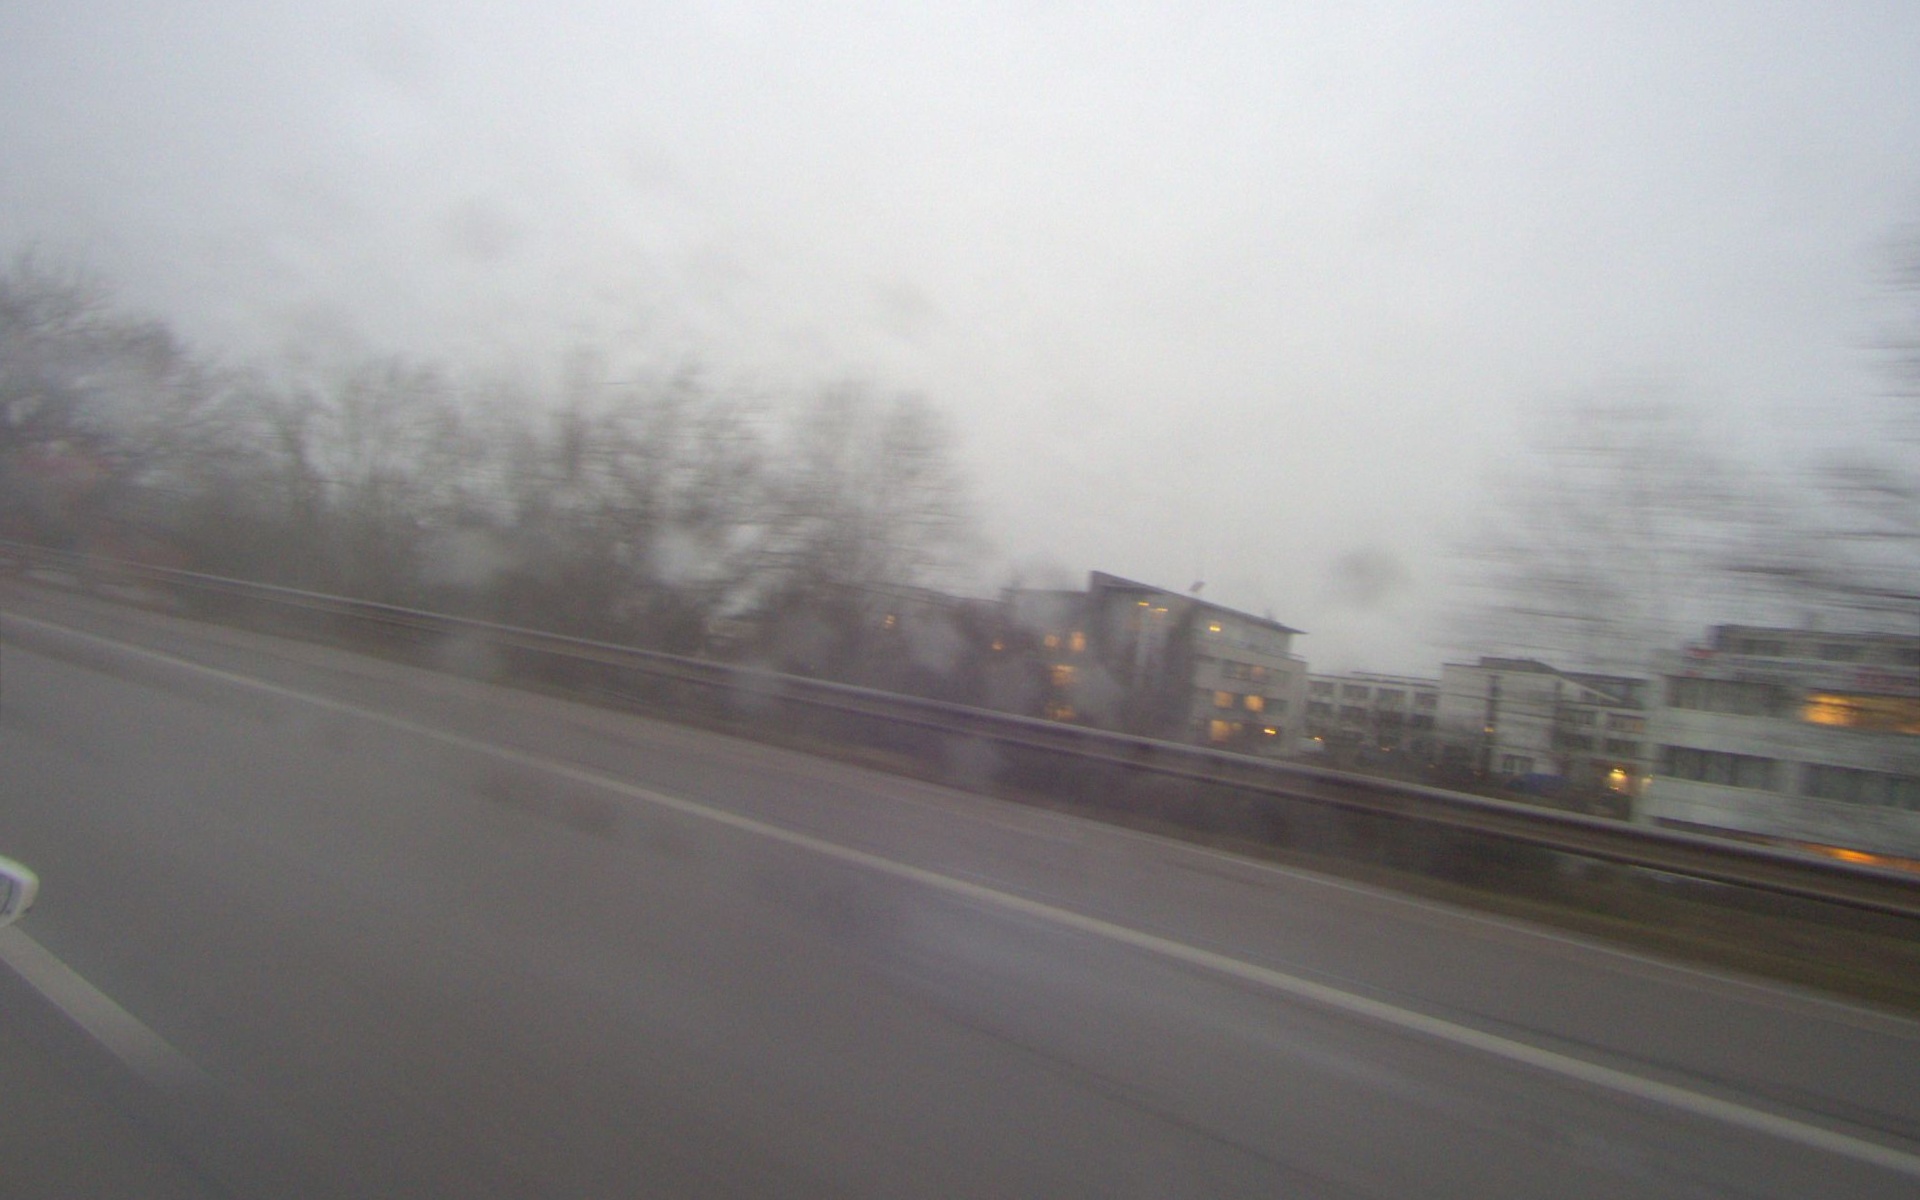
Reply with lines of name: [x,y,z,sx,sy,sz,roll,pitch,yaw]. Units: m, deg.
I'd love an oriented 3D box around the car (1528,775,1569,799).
car: [71.216,22.660,121.786,3.937,2.037,1.996,6,-2,35]

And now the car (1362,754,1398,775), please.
car: [56.112,21.923,134.442,3.937,2.037,1.996,6,-2,35]
